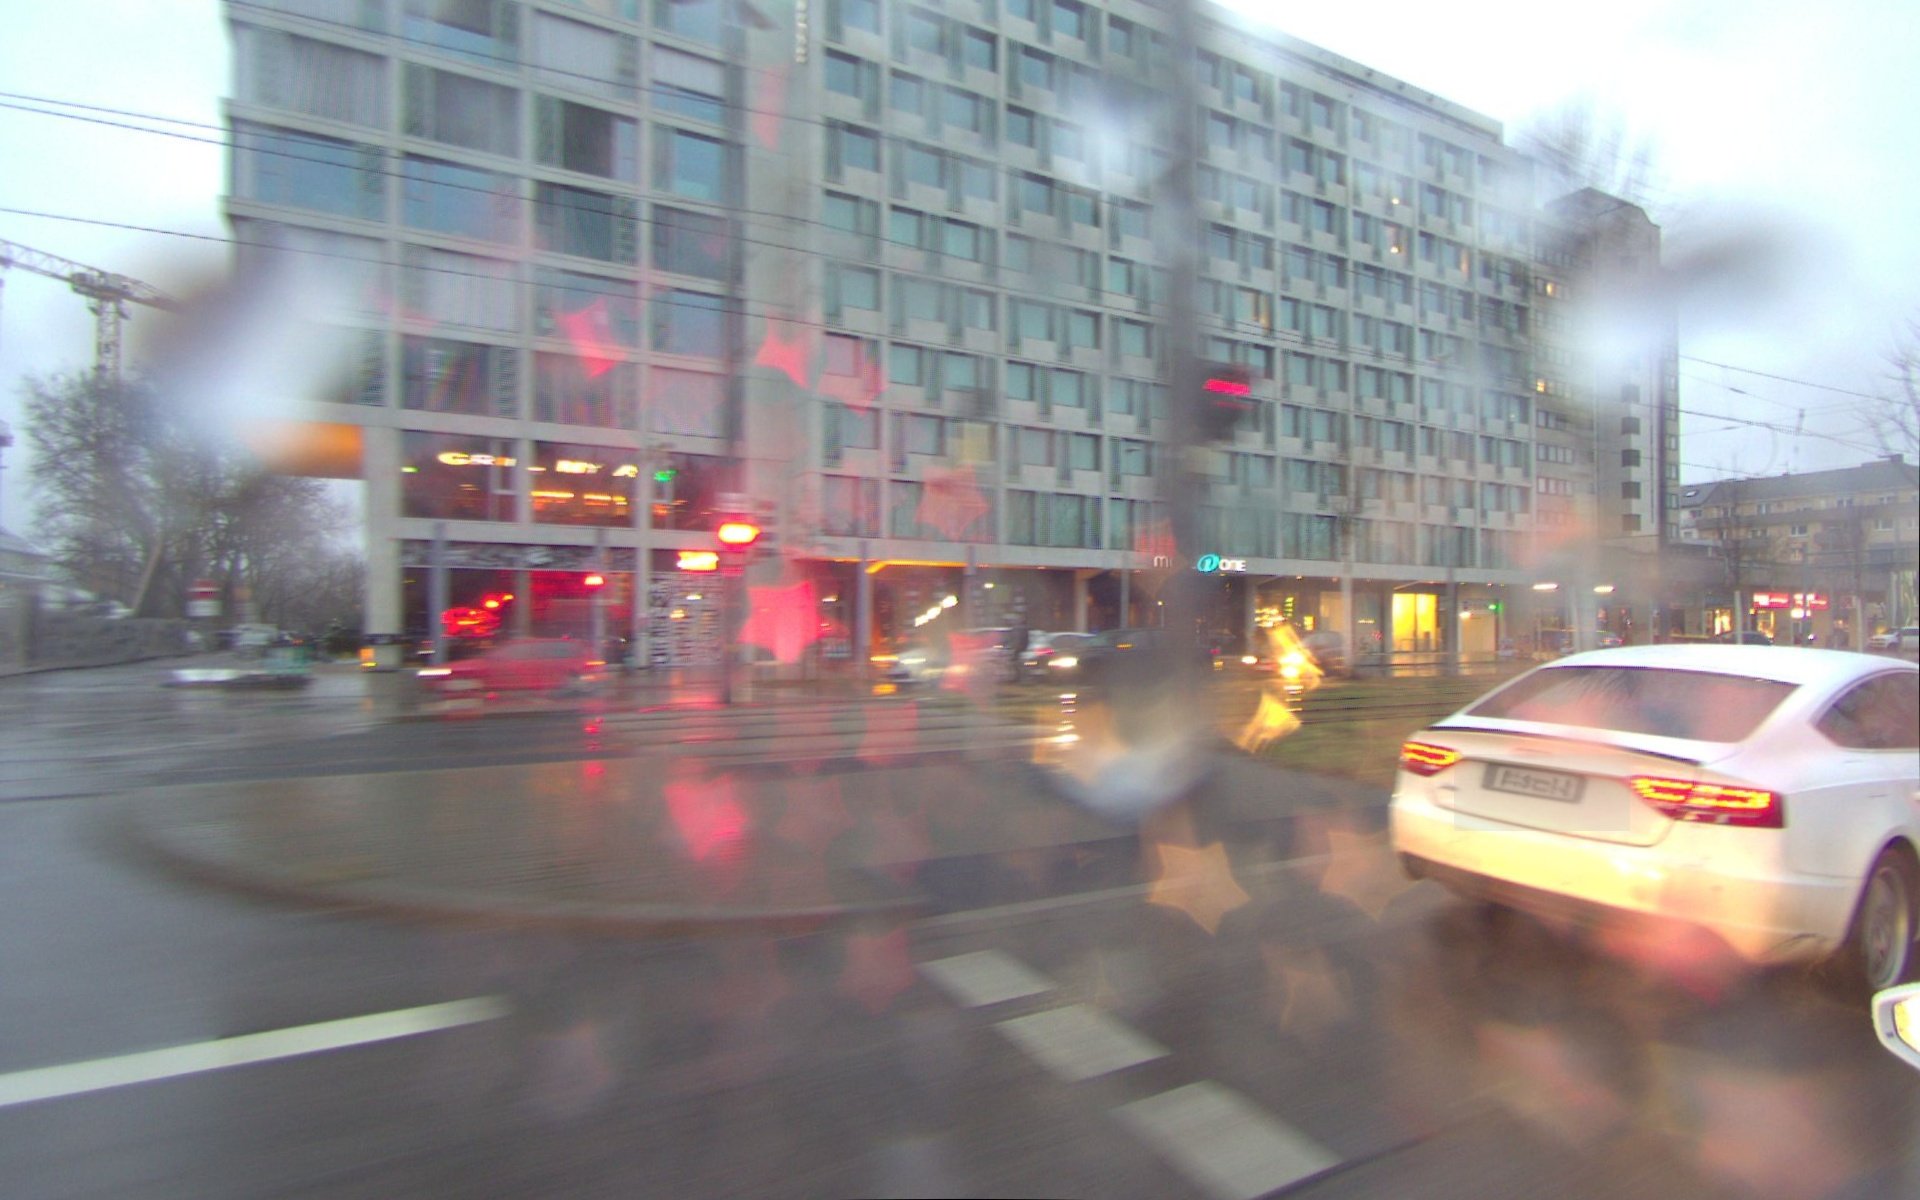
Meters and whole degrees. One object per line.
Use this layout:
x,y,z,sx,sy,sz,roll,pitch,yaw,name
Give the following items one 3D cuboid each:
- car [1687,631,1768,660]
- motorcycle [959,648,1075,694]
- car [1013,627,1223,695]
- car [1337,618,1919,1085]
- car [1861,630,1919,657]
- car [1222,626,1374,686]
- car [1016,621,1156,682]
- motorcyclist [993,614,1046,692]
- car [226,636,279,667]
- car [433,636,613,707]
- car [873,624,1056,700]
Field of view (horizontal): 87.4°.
50.246,2.971,65.832,3.744,1.821,1.910,0,-1,19,car
1.454,1.754,25.301,2.932,1.071,0.867,1,-1,-30,motorcycle
3.948,1.451,24.859,5.035,1.481,1.984,1,-1,-30,car
4.038,0.872,5.099,4.202,1.489,1.751,1,-1,-31,car
75.098,3.454,79.770,4.787,2.040,2.000,0,-1,19,car
9.576,1.501,28.242,5.061,1.481,1.974,2,-1,-44,car
4.051,1.629,32.231,4.123,1.813,1.874,1,-1,-28,car
1.499,1.321,25.318,1.021,1.910,0.867,1,0,-30,motorcyclist
-39.687,2.876,56.426,1.863,1.595,3.972,1,-1,-27,car
-10.805,1.717,24.942,3.947,1.595,1.875,1,-1,-26,car
0.157,1.588,26.650,4.544,1.813,1.873,1,-1,-30,car
